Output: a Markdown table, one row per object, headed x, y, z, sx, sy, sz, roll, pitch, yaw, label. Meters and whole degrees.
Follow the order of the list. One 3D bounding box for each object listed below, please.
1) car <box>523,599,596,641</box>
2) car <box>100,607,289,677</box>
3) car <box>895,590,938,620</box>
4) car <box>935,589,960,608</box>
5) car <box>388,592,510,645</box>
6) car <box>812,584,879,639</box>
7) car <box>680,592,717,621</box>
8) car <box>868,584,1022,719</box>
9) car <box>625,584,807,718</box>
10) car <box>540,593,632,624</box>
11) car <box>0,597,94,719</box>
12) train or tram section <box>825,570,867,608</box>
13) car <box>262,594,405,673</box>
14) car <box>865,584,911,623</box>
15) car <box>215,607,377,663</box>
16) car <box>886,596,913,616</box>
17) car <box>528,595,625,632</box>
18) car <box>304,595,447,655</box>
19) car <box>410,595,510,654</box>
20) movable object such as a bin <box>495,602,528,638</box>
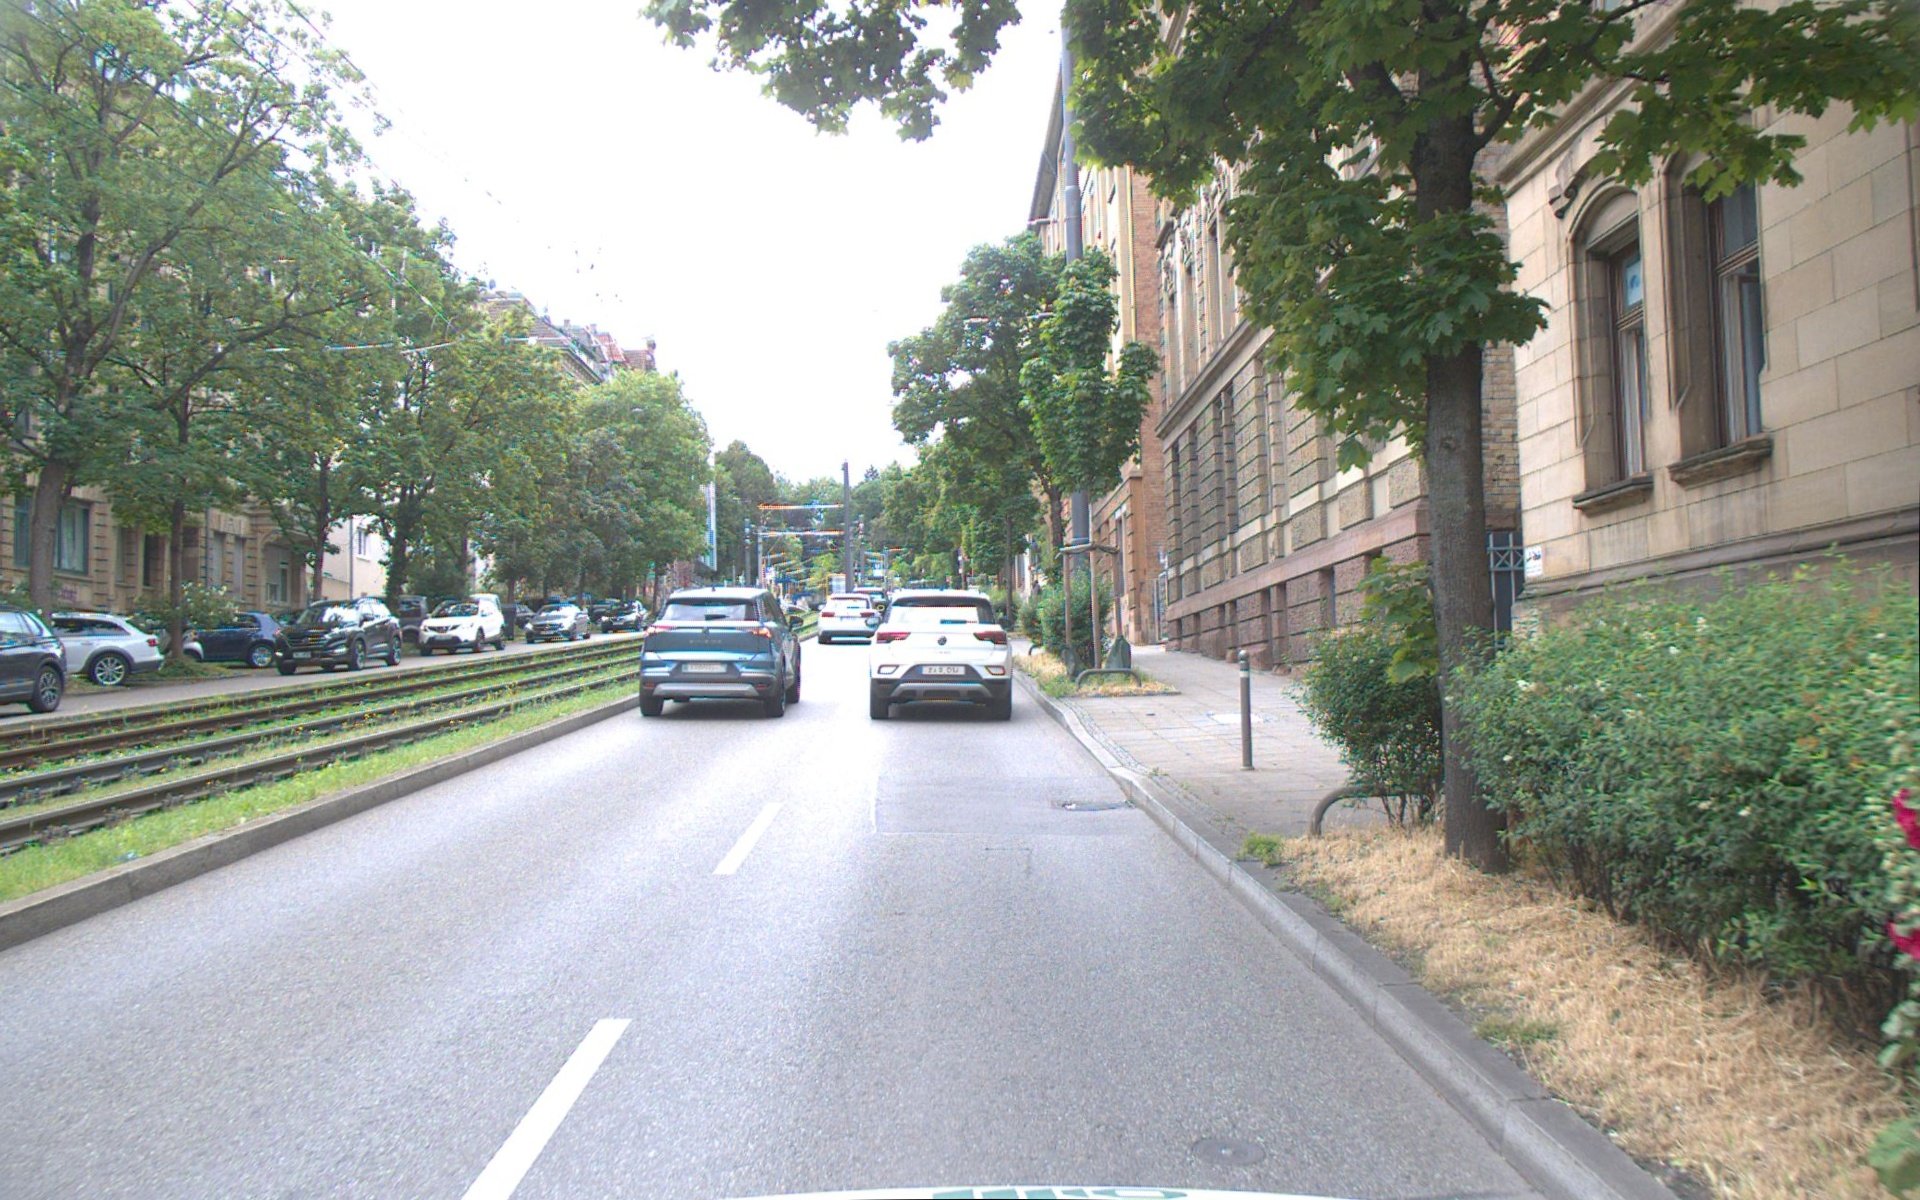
| x | y | z | sx | sy | sz | roll | pitch | yaw | label |
| --- | --- | --- | --- | --- | --- | --- | --- | --- | --- |
| -15.185 | 0.722 | 62.932 | 1.690 | 1.434 | 4.596 | -3 | 0 | -1 | car |
| -19.365 | 1.042 | 41.870 | 4.105 | 1.495 | 1.765 | -3 | 0 | -34 | car |
| -2.384 | 0.284 | 89.852 | 2.028 | 1.573 | 4.188 | 0 | 0 | -6 | car |
| -1.050 | -0.131 | 135.495 | 2.026 | 1.573 | 4.193 | 0 | 0 | -1 | car |
| -19.366 | 0.690 | 62.728 | 4.131 | 1.868 | 1.854 | -2 | 0 | -28 | car |
| -3.427 | 0.334 | 50.075 | 1.798 | 1.573 | 4.193 | 0 | 0 | -1 | car |
| -14.430 | 0.347 | 91.497 | 1.556 | 1.460 | 3.411 | -3 | 0 | -2 | car |
| -0.241 | 0.601 | 21.463 | 1.799 | 1.573 | 4.192 | 0 | 0 | -2 | car |
| -3.059 | 0.600 | 21.545 | 1.798 | 1.573 | 4.193 | 0 | 0 | -1 | car |
| -20.445 | 0.443 | 90.450 | 4.554 | 1.646 | 1.912 | 0 | 0 | -35 | car |
| -14.239 | 0.860 | 23.161 | 1.842 | 1.679 | 4.469 | -3 | 0 | -1 | car |
| -10.589 | -0.989 | 155.229 | 2.934 | 3.407 | 13.437 | -1 | 0 | 0 | train or tram section |
| -14.737 | 0.741 | 39.139 | 1.744 | 1.685 | 4.242 | -3 | 0 | -1 | car |
| -3.001 | 0.138 | 69.607 | 1.798 | 1.573 | 4.193 | 0 | 0 | -1 | car |
| -19.276 | 0.992 | 48.031 | 4.136 | 1.460 | 1.852 | -2 | 0 | -31 | car |
| -4.718 | 0.466 | 128.558 | 2.027 | 1.573 | 4.191 | 0 | 0 | -2 | car |
| -19.557 | 0.660 | 84.486 | 1.902 | 1.829 | 4.579 | 0 | 0 | 42 | car |
| -19.112 | 0.785 | 54.102 | 4.136 | 1.798 | 1.852 | -2 | 0 | -31 | car |
| -15.252 | 0.710 | 50.671 | 1.744 | 1.644 | 4.345 | -3 | 0 | -1 | car |
| -17.875 | 0.785 | 65.918 | 1.254 | 1.425 | 1.091 | 0 | 0 | -17 | movable object such as a bin |
